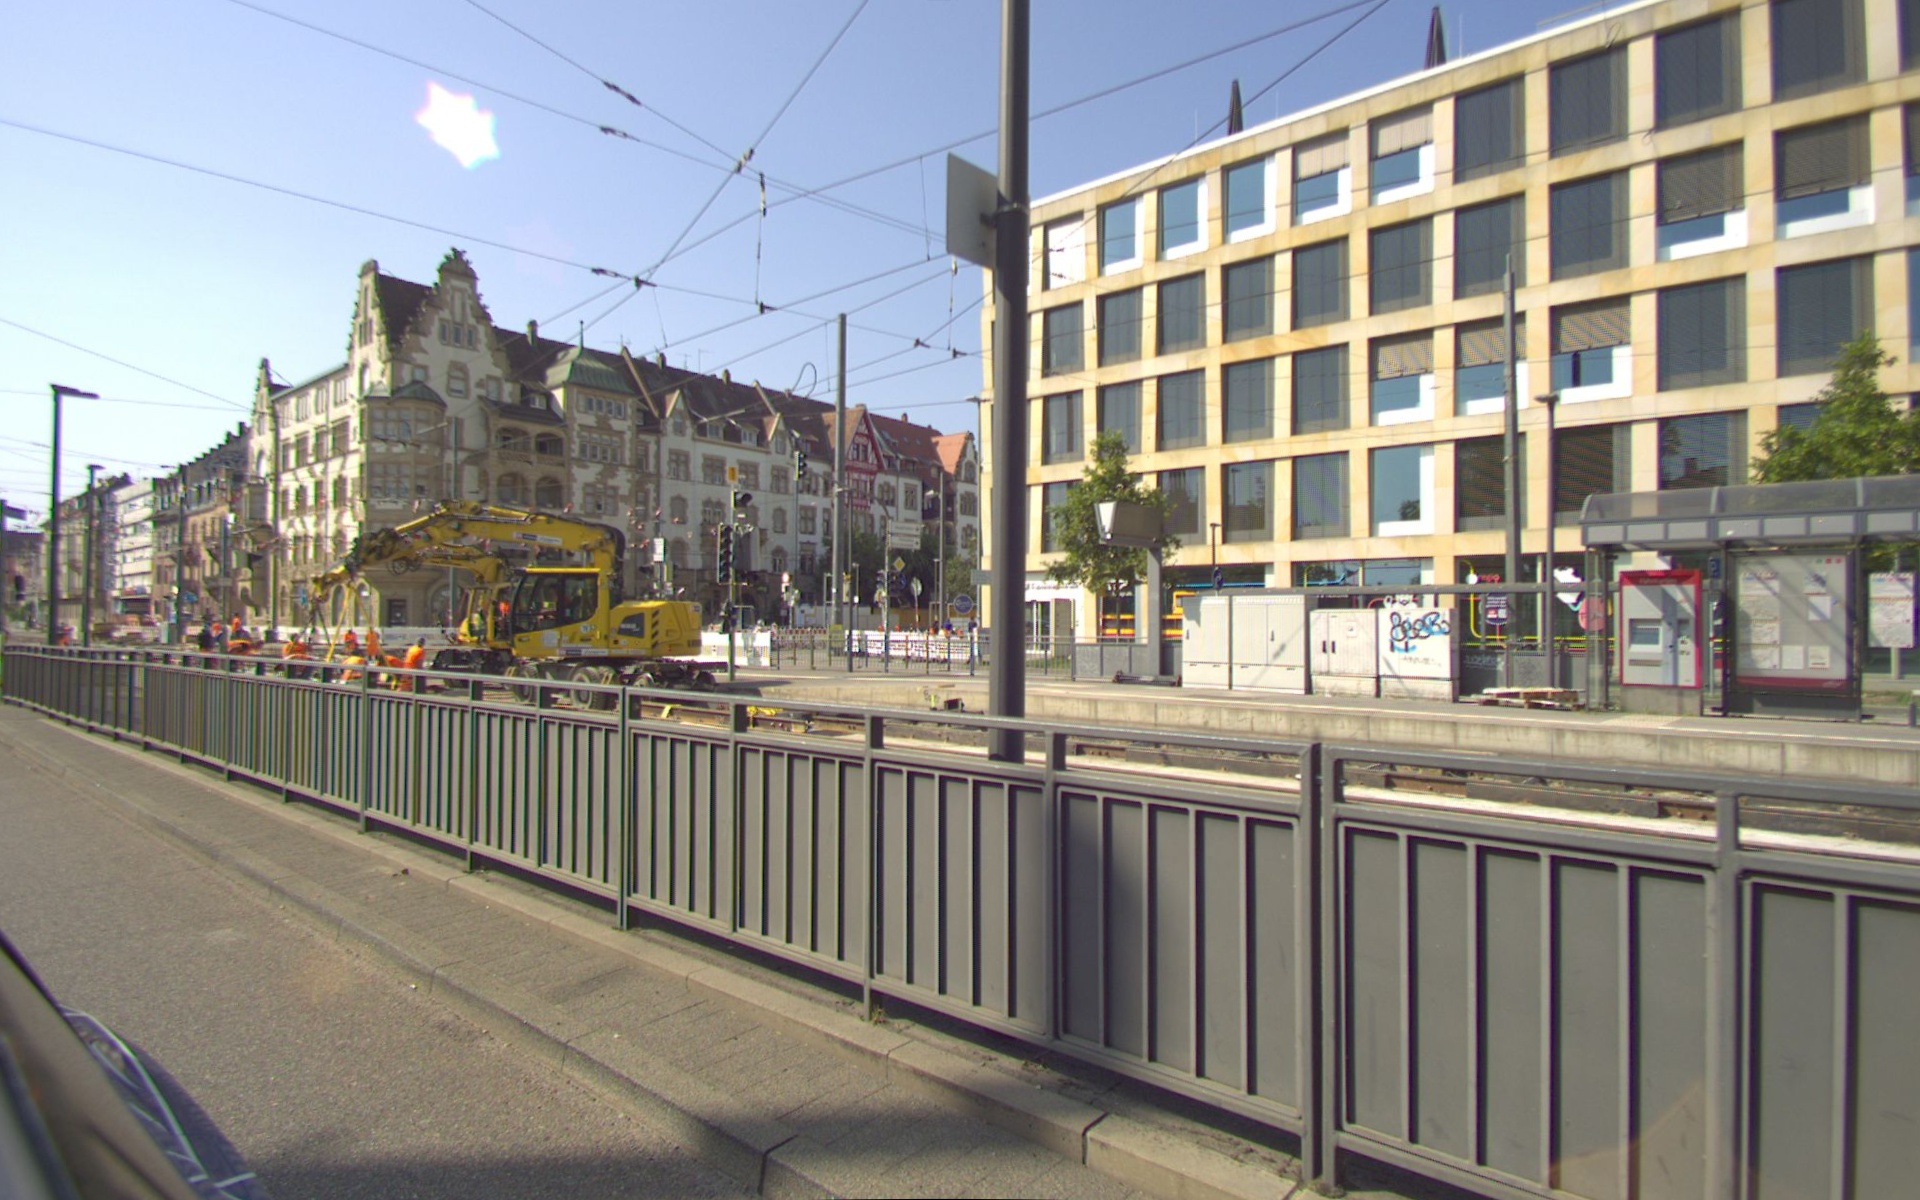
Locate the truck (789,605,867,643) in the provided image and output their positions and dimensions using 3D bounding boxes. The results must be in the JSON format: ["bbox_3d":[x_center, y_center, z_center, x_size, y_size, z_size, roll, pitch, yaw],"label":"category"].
[{"bbox_3d":[-10.264,1.932,79.260,2.688,2.836,5.963,-1,-2,38],"label":"truck"}]

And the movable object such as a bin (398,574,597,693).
[{"bbox_3d":[-13.684,1.001,30.215,3.548,3.247,4.090,-1,-2,25],"label":"movable object such as a bin"}]

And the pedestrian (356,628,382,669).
[{"bbox_3d":[-25.120,2.053,43.016,0.758,1.715,0.731,-1,-3,39],"label":"pedestrian"}]

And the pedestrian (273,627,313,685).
[{"bbox_3d":[-15.742,1.307,23.888,0.691,1.345,0.839,1,-2,-29],"label":"pedestrian"}]

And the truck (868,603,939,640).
[{"bbox_3d":[-4.748,1.883,86.315,2.627,3.067,6.276,-1,-2,37],"label":"truck"}]

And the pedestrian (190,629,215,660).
[{"bbox_3d":[-31.201,1.831,41.674,0.547,1.256,0.669,-1,-3,39],"label":"pedestrian"}]

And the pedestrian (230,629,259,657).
[{"bbox_3d":[-32.023,1.912,45.294,0.864,1.192,0.723,1,-4,33],"label":"pedestrian"}]

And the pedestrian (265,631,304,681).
[{"bbox_3d":[-16.440,1.344,24.644,0.691,1.186,0.704,1,-2,-29],"label":"pedestrian"}]

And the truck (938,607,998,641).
[{"bbox_3d":[0.769,2.218,93.529,2.235,3.067,6.276,-1,-2,37],"label":"truck"}]

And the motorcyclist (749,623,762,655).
[{"bbox_3d":[-7.857,1.496,38.825,0.424,1.188,0.517,4,-3,-11],"label":"motorcyclist"}]

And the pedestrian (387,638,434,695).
[{"bbox_3d":[-11.427,1.374,21.047,0.691,1.164,0.589,0,-2,-10],"label":"pedestrian"}]

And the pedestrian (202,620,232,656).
[{"bbox_3d":[-32.752,1.671,44.614,0.727,1.568,0.753,0,-2,-2],"label":"pedestrian"}]

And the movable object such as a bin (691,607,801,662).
[{"bbox_3d":[-11.617,1.824,55.205,2.489,2.810,5.444,0,-1,41],"label":"movable object such as a bin"}]

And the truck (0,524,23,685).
[{"bbox_3d":[-27.019,0.134,25.310,8.982,3.818,2.787,-1,-3,31],"label":"truck"}]

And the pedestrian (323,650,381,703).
[{"bbox_3d":[-11.621,1.446,19.333,0.881,0.962,0.693,-2,-3,41],"label":"pedestrian"}]

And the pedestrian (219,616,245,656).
[{"bbox_3d":[-31.848,1.564,44.258,0.678,1.715,0.743,-1,-3,40],"label":"pedestrian"}]

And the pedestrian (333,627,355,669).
[{"bbox_3d":[-25.833,2.005,42.430,0.728,1.715,0.761,1,-2,-31],"label":"pedestrian"}]

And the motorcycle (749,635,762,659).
[{"bbox_3d":[-7.857,1.810,38.838,0.424,0.885,1.638,4,-3,-11],"label":"motorcycle"}]

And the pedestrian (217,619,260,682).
[{"bbox_3d":[-17.350,1.200,24.346,0.730,1.490,0.705,1,-2,-27],"label":"pedestrian"}]

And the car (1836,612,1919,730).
[{"bbox_3d":[14.172,0.955,13.464,3.757,1.583,1.644,-1,-2,41],"label":"car"}]

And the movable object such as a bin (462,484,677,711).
[{"bbox_3d":[-8.885,0.034,22.958,4.211,4.589,2.954,-2,-3,43],"label":"movable object such as a bin"}]
